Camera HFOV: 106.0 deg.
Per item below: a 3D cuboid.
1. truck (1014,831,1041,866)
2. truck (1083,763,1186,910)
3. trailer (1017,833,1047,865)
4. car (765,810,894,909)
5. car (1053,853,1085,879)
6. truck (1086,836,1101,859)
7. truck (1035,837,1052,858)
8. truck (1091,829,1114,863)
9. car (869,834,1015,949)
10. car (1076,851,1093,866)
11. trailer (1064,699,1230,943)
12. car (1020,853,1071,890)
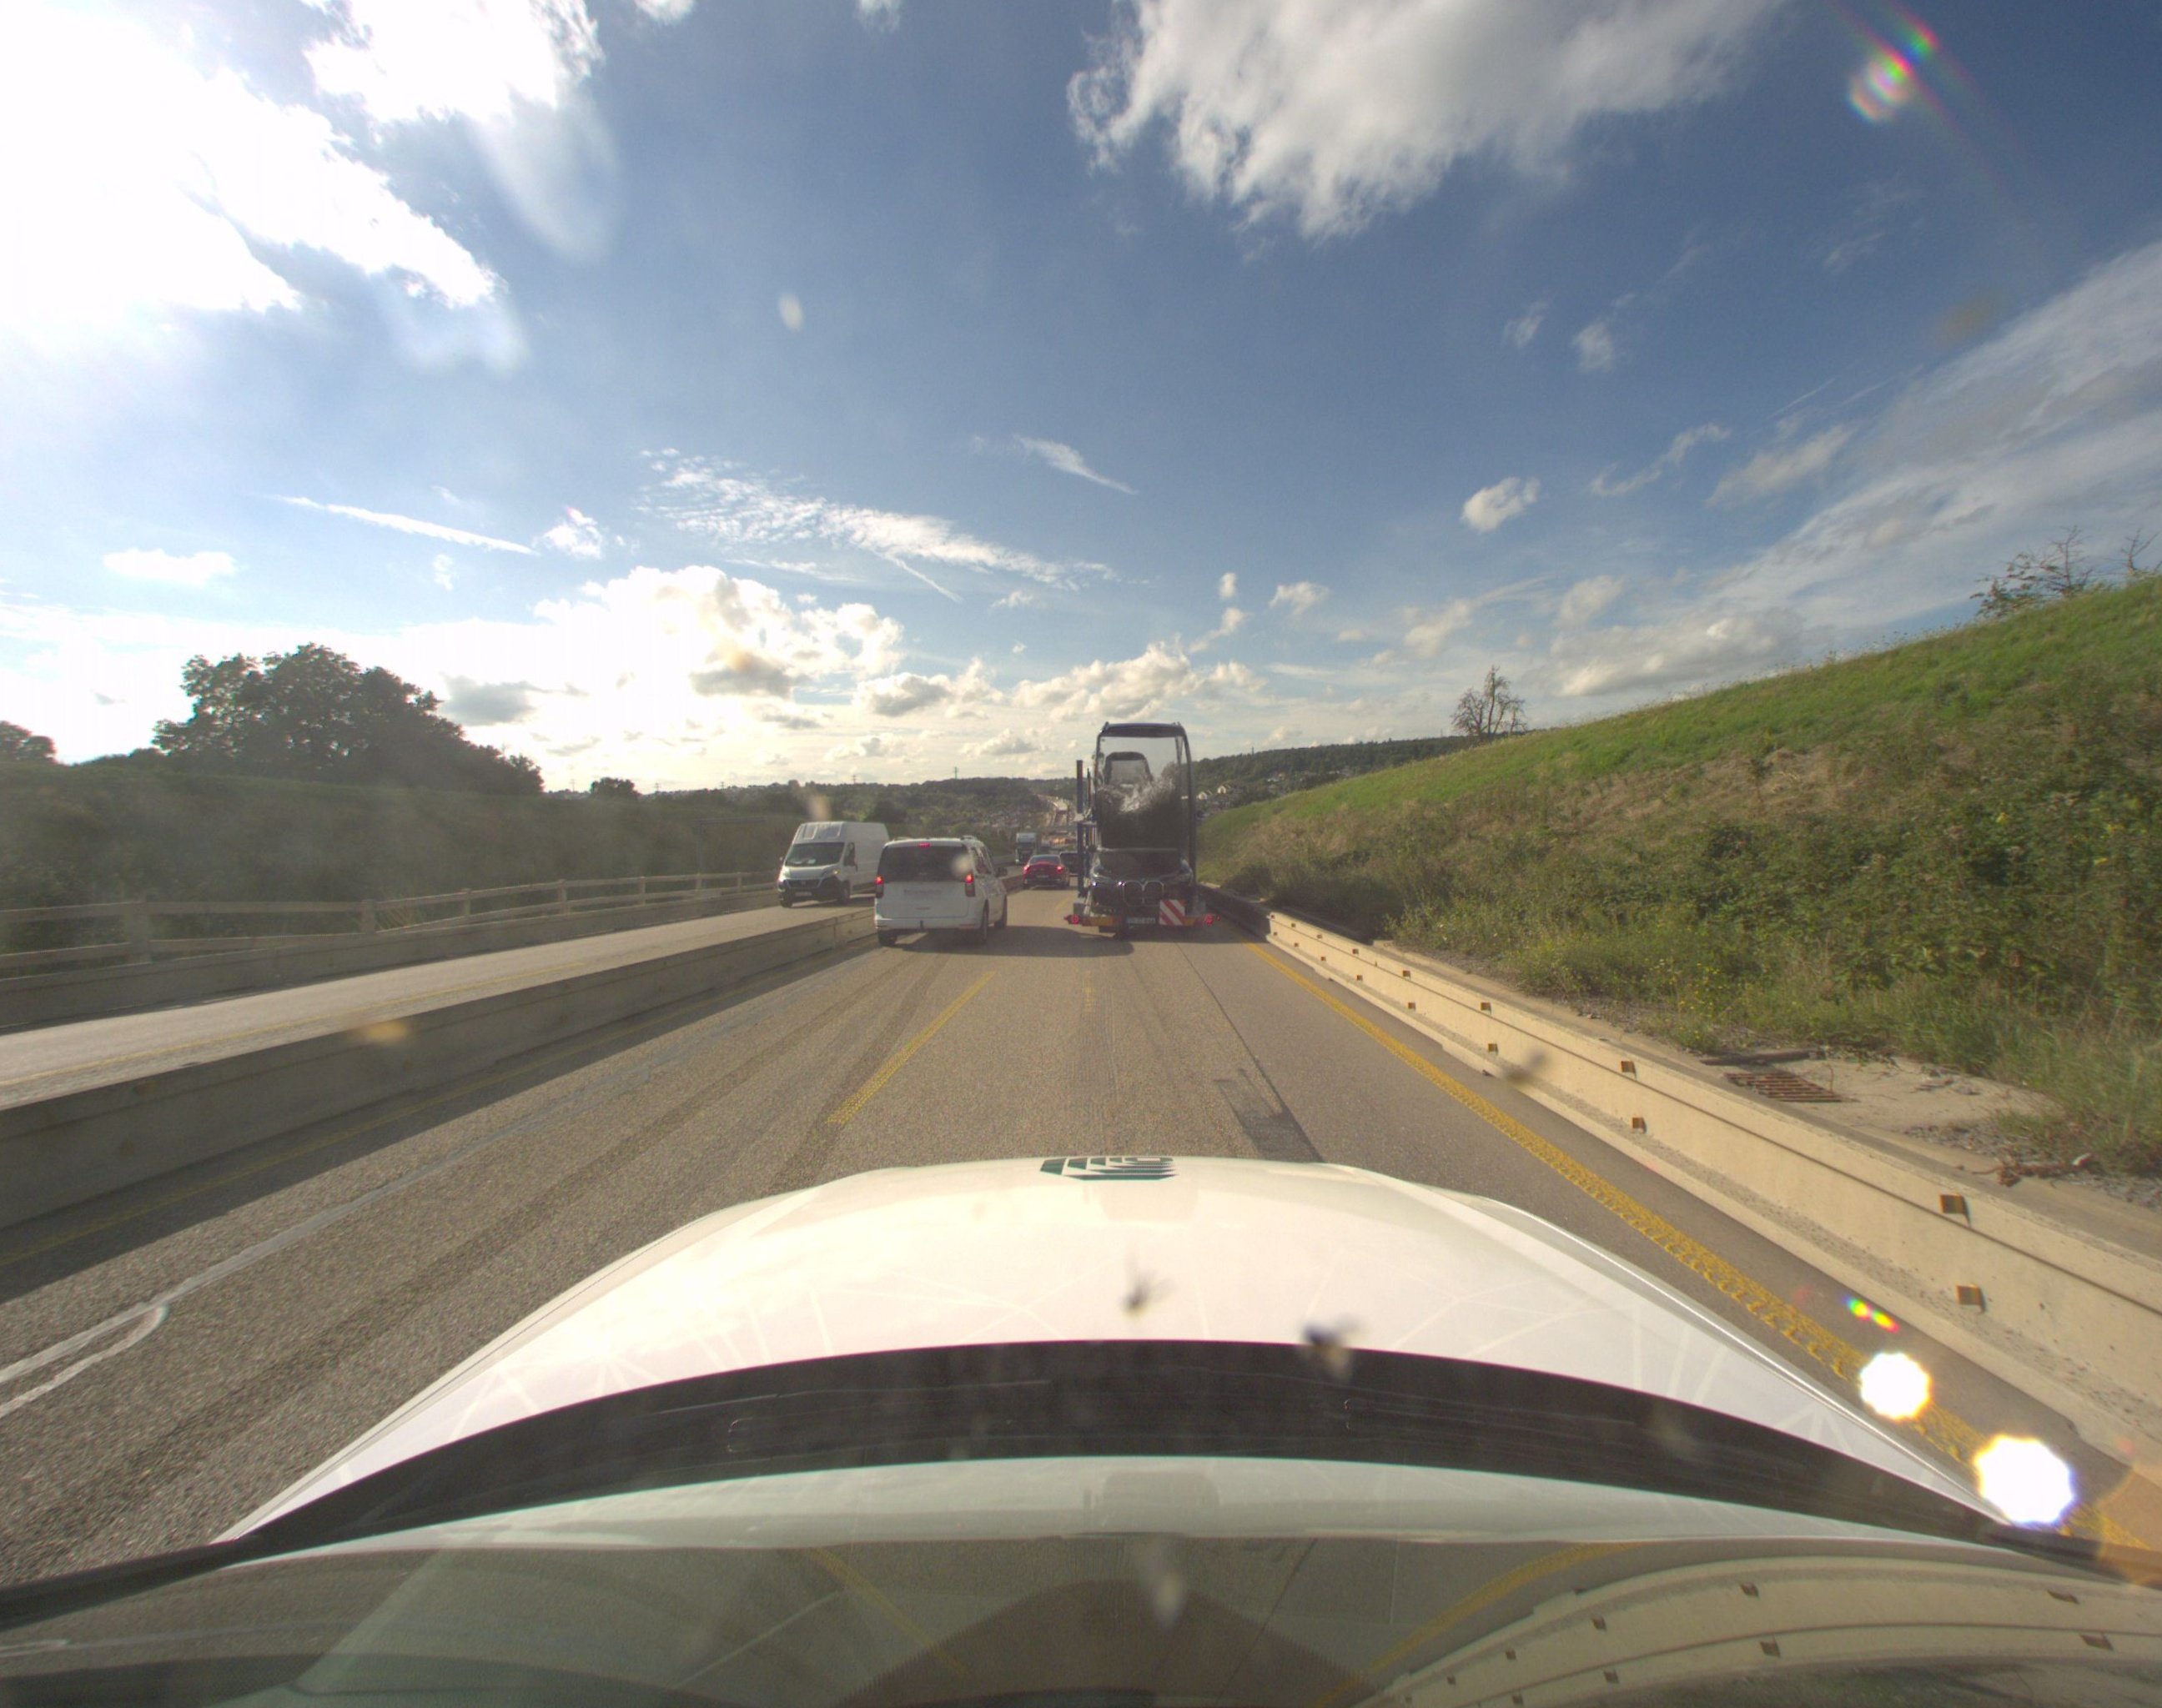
[{"bbox_3d":[-6.572,-0.681,100.798,2.605,4.153,5.783,-1,0,1],"label":"truck"},{"bbox_3d":[1.535,-0.478,25.003,2.668,3.922,6.029,-1,0,2],"label":"truck"},{"bbox_3d":[-6.389,-0.640,107.447,2.605,3.953,13.879,-1,0,2],"label":"trailer"},{"bbox_3d":[-8.256,0.178,27.518,2.102,2.835,6.141,-4,0,2],"label":"car"},{"bbox_3d":[-0.752,0.758,53.669,1.987,1.625,4.751,-1,0,1],"label":"car"},{"bbox_3d":[2.677,-1.331,168.136,2.853,4.570,11.661,-1,0,1],"label":"truck"},{"bbox_3d":[-7.318,-1.261,160.617,2.630,4.099,10.817,-1,0,0],"label":"truck"},{"bbox_3d":[3.023,-1.128,118.706,2.855,4.570,11.655,-1,0,0],"label":"truck"},{"bbox_3d":[-2.398,0.580,15.217,1.816,1.823,4.458,0,1,2],"label":"car"},{"bbox_3d":[0.406,0.452,90.277,1.790,1.596,4.744,-1,0,1],"label":"car"},{"bbox_3d":[1.320,-0.573,19.389,2.697,4.029,11.425,-1,0,2],"label":"trailer"},{"bbox_3d":[-1.489,0.709,35.825,1.816,1.492,4.687,0,1,2],"label":"car"}]
